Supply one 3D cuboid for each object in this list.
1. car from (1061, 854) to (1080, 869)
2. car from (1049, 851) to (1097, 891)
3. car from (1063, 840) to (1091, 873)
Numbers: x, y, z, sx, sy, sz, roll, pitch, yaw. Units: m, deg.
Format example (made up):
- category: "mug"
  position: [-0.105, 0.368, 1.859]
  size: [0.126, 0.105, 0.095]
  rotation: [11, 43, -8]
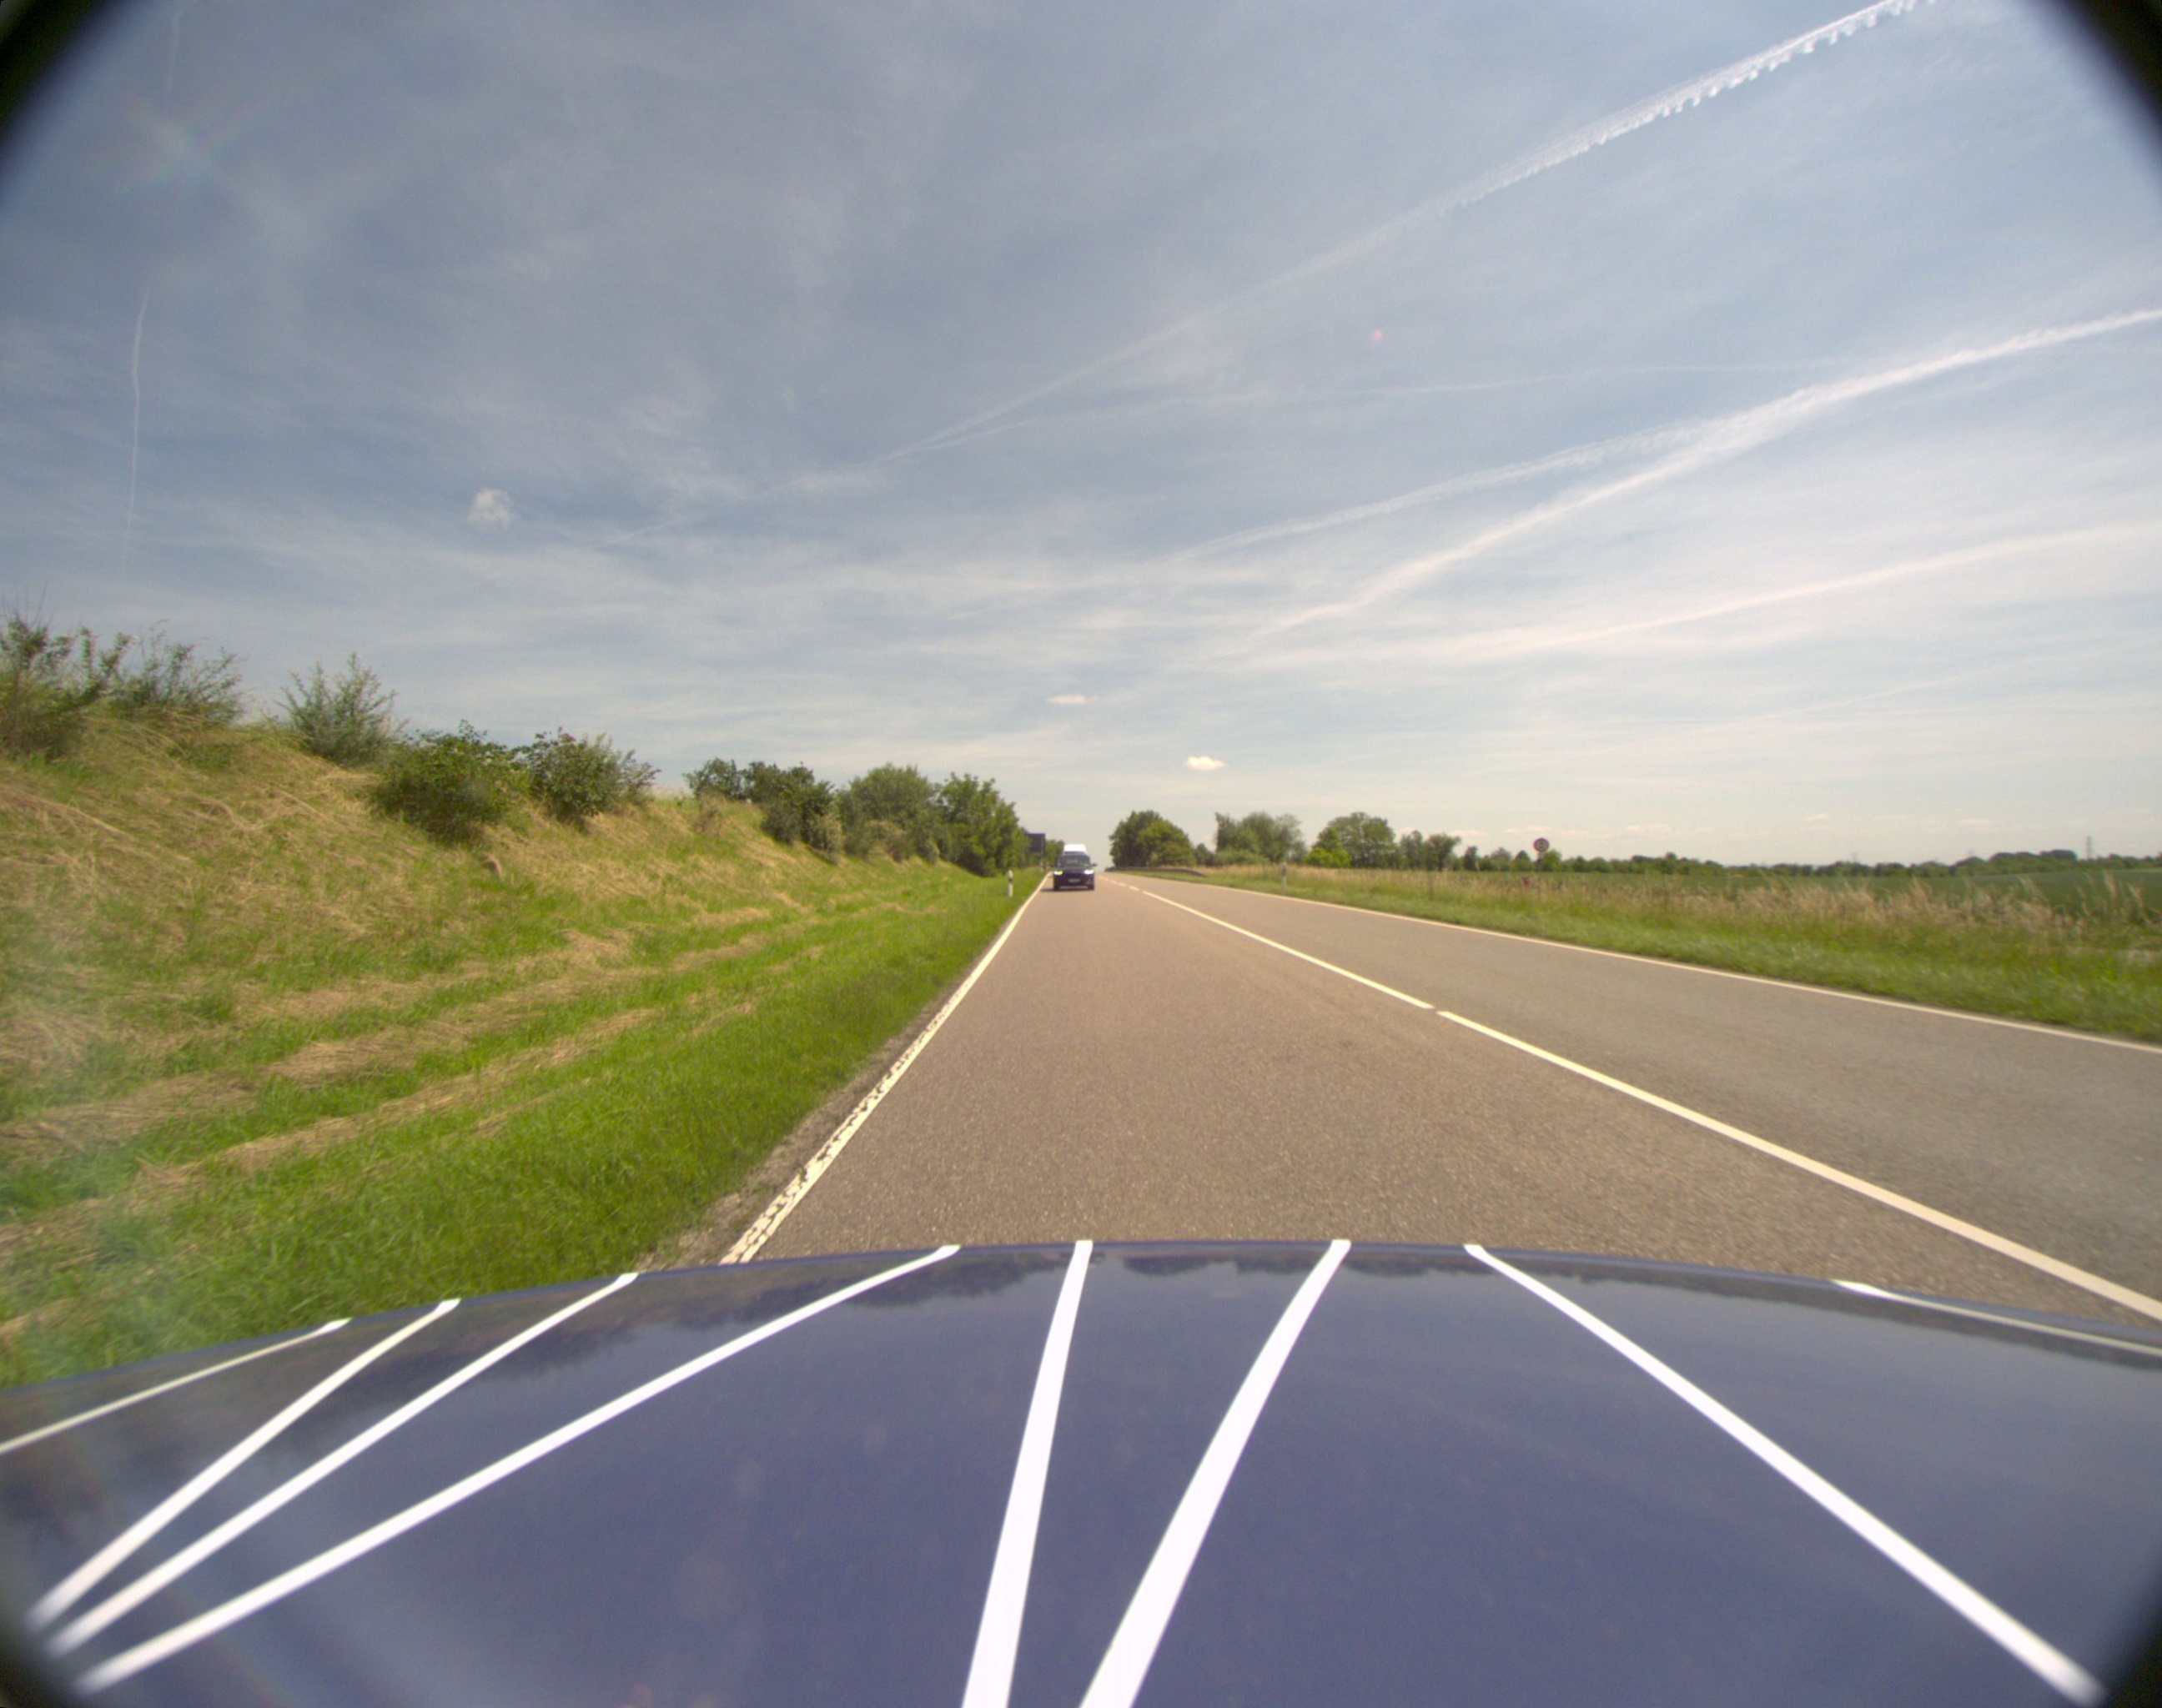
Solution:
- category: "car"
  position: [-1.211, 0.828, 84.412]
  size: [2.039, 1.641, 4.743]
  rotation: [0, 0, -1]
- category: "car"
  position: [-0.302, 0.740, 35.988]
  size: [2.039, 1.691, 5.513]
  rotation: [-2, 0, 1]
- category: "car"
  position: [-0.301, 0.210, 62.926]
  size: [2.226, 2.617, 5.752]
  rotation: [0, 0, 0]
